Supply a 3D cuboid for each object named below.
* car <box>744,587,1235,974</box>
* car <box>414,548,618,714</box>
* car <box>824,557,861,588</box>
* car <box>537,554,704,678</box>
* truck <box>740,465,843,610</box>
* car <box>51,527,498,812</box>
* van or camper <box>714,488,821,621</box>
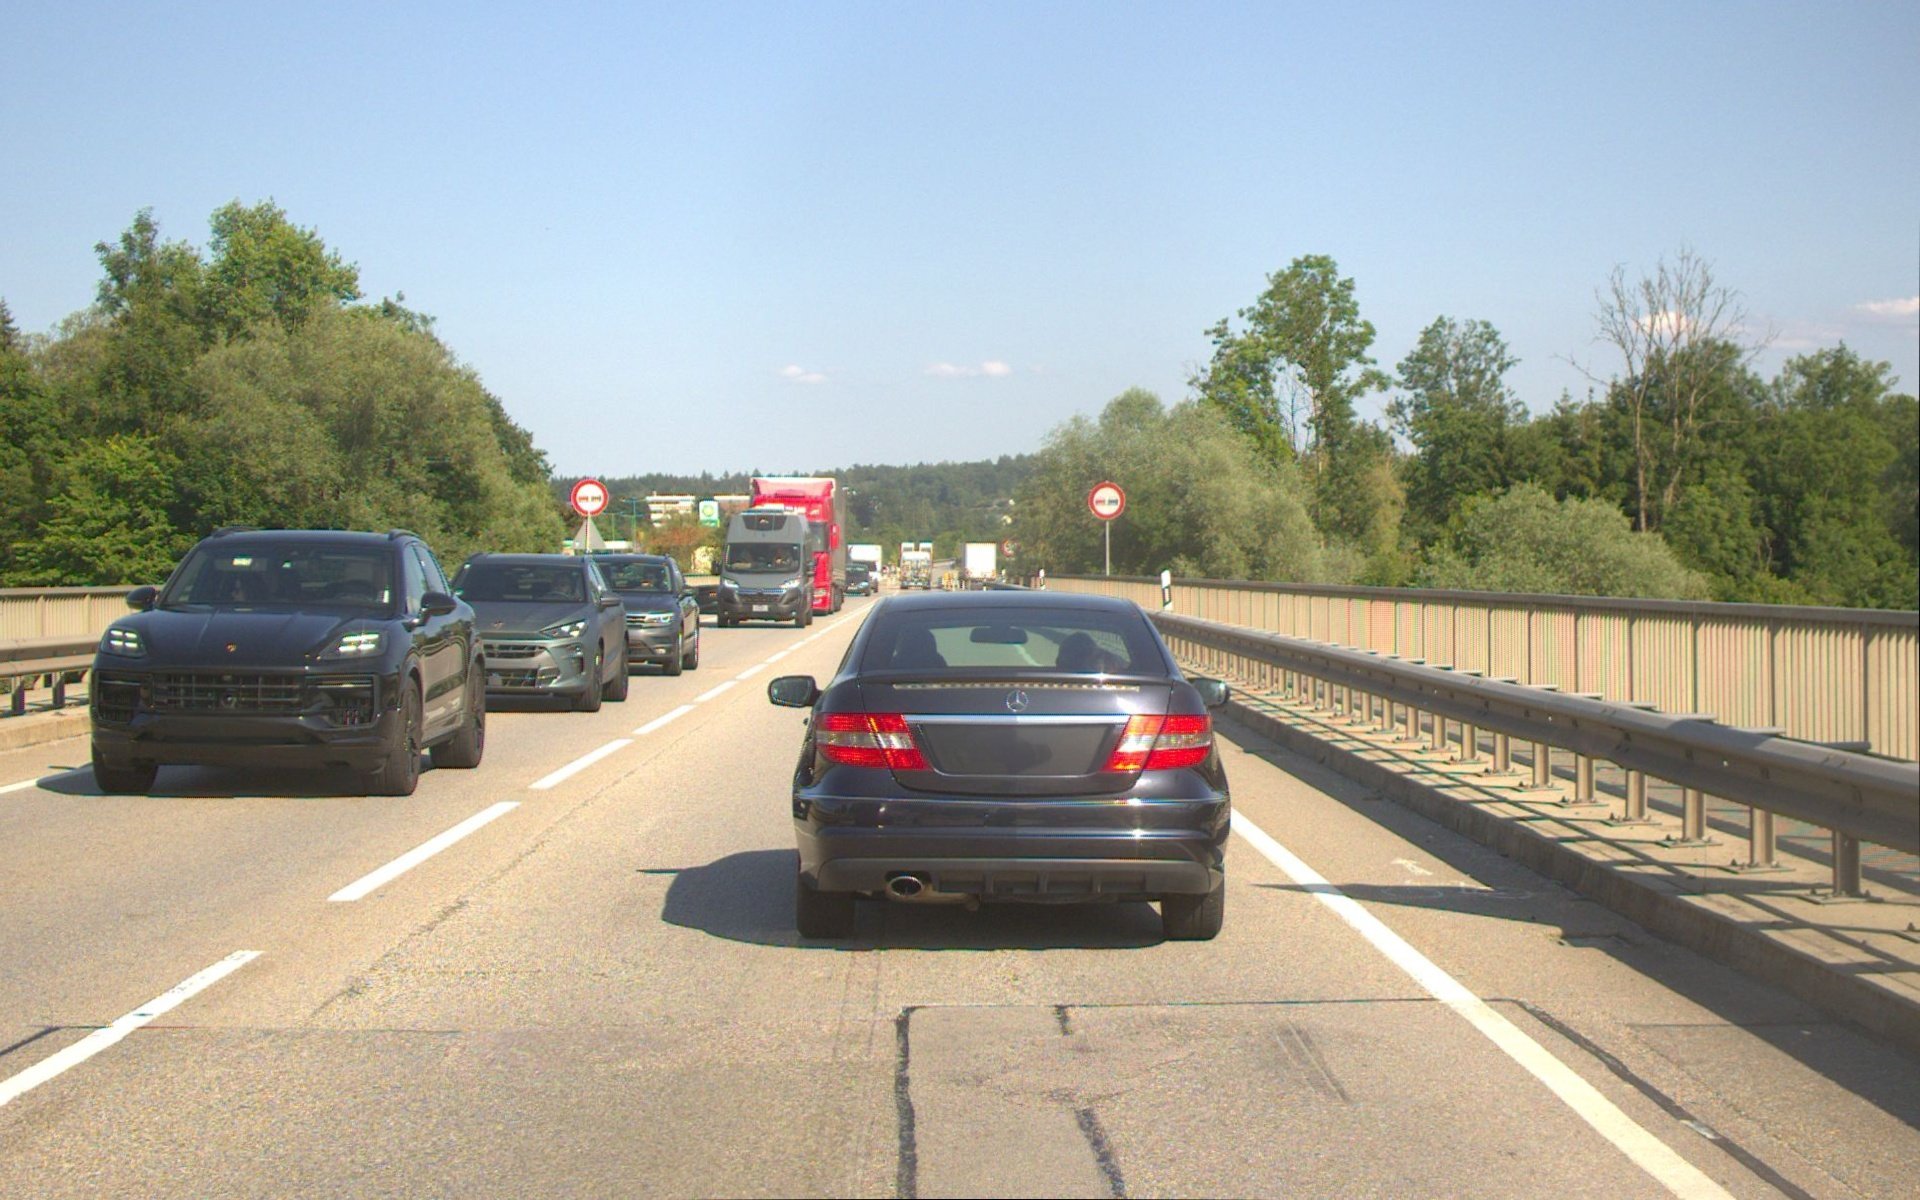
[{"bbox_3d":[0.131,0.659,14.702,1.793,1.371,4.000,1,1,1],"label":"car"},{"bbox_3d":[-4.513,0.276,35.413,1.806,1.572,4.202,1,1,-4],"label":"car"},{"bbox_3d":[-6.323,-1.463,184.230,1.841,1.636,4.577,1,0,-4],"label":"car"},{"bbox_3d":[-4.584,0.188,46.922,1.874,1.578,4.274,1,1,-1],"label":"car"},{"bbox_3d":[-5.088,-1.855,103.350,2.907,4.170,5.714,1,1,-3],"label":"truck"},{"bbox_3d":[-4.454,0.417,23.103,2.053,1.647,4.721,2,0,-1],"label":"car"},{"bbox_3d":[-4.564,-1.087,82.539,2.315,3.040,6.818,1,1,-1],"label":"van or camper"}]
